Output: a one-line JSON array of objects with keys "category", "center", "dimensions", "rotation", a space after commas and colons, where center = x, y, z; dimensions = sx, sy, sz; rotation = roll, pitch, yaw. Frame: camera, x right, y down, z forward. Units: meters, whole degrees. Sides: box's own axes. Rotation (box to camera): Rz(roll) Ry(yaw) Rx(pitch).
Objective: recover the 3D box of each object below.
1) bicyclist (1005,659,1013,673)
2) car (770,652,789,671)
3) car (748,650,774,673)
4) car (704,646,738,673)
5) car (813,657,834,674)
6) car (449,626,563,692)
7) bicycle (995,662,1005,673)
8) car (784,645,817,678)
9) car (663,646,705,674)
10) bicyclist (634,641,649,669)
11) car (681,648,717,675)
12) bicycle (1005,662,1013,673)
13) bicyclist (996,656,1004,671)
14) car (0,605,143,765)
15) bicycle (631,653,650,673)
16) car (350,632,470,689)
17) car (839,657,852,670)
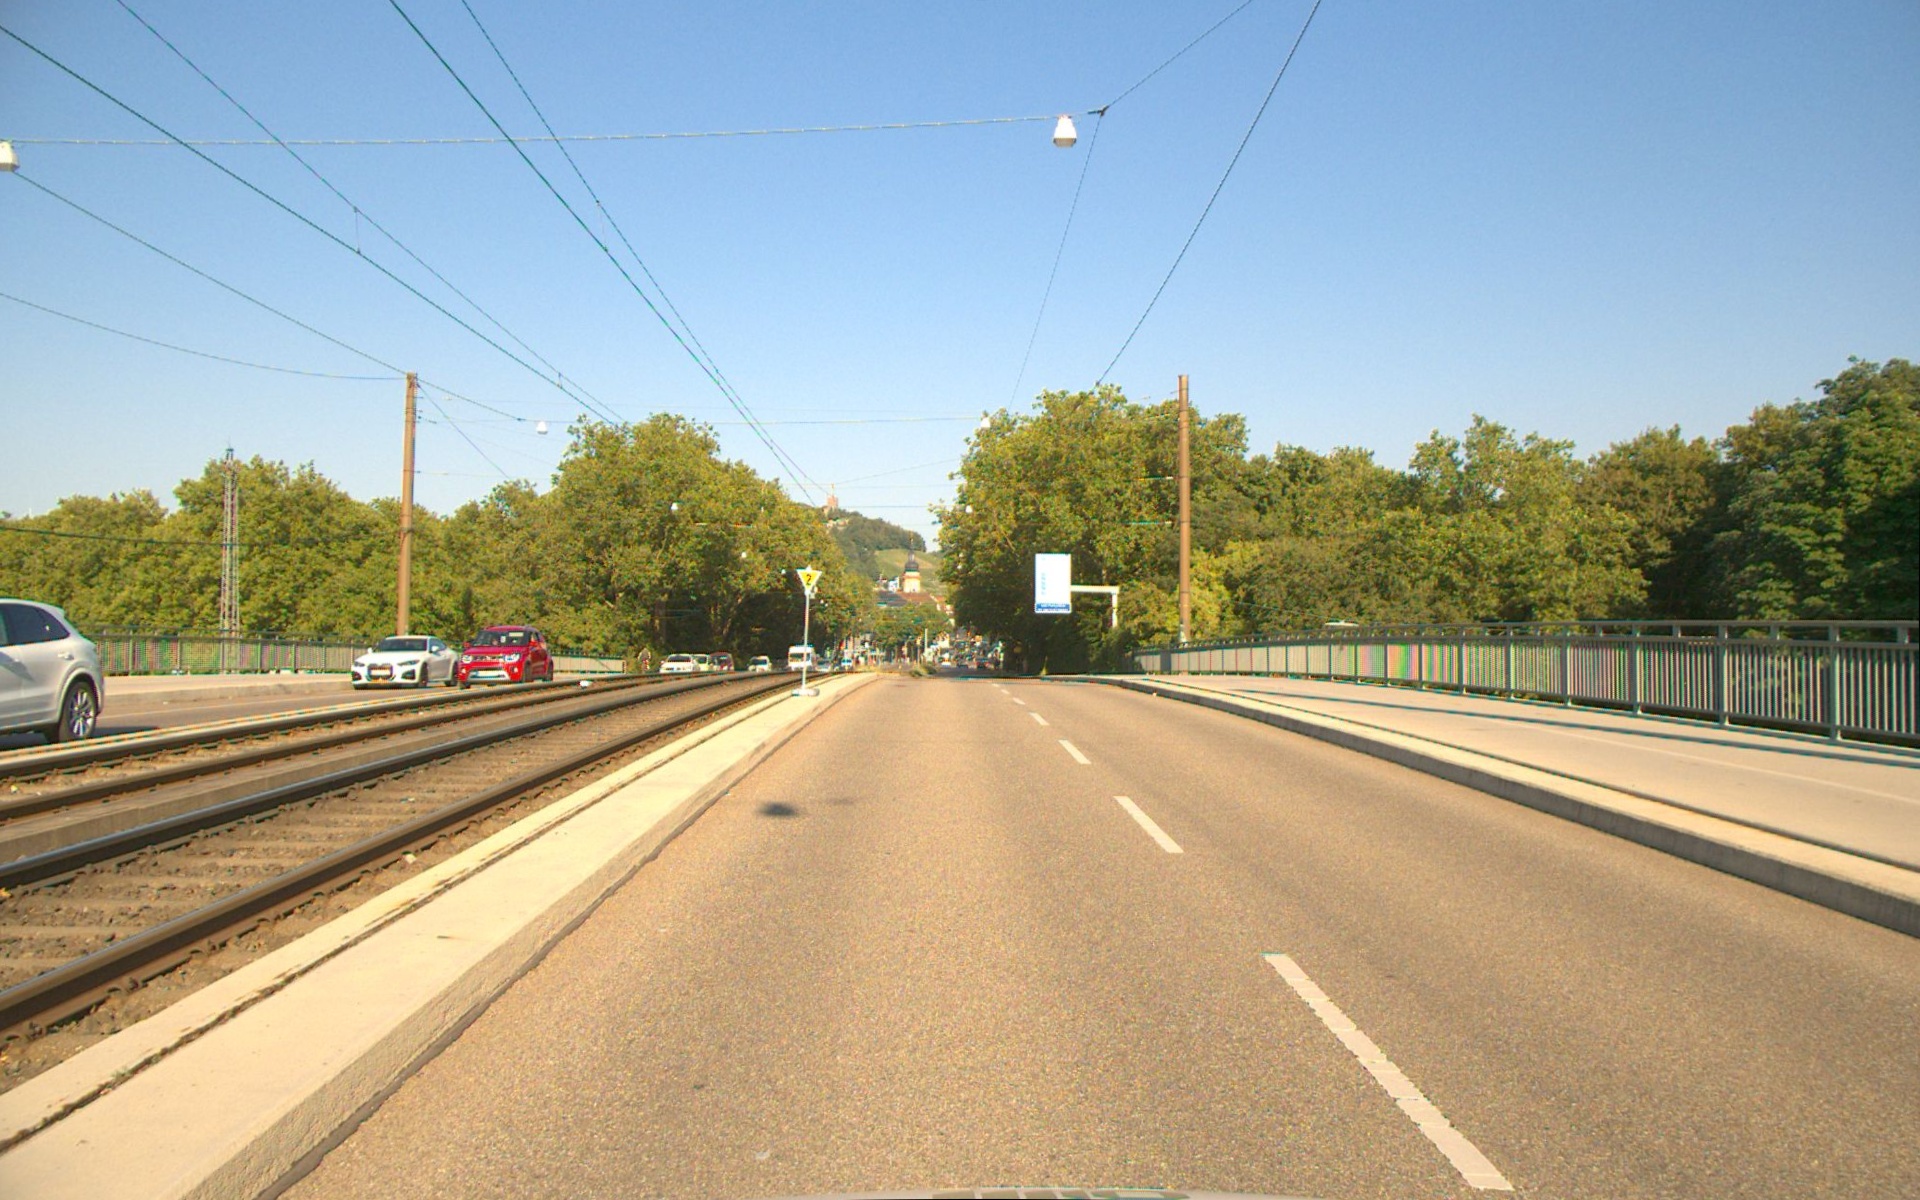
[{"category": "bicyclist", "center": [5.892, 7.875, 198.361], "dimensions": [0.869, 1.667, 1.164], "rotation": [0, -2, 0]}, {"category": "car", "center": [-16.654, 5.686, 152.752], "dimensions": [1.708, 1.665, 3.995], "rotation": [-1, -2, -5]}, {"category": "car", "center": [-16.525, 5.063, 137.574], "dimensions": [1.707, 1.774, 4.510], "rotation": [-3, -1, -3]}, {"category": "car", "center": [-15.801, 3.917, 109.498], "dimensions": [1.706, 1.785, 4.682], "rotation": [0, -2, -1]}, {"category": "car", "center": [-13.911, 6.657, 168.530], "dimensions": [1.835, 1.695, 4.596], "rotation": [0, -2, 0]}, {"category": "car", "center": [-11.311, 1.490, 41.442], "dimensions": [1.771, 1.546, 3.998], "rotation": [1, -3, -1]}, {"category": "bicycle", "center": [4.863, 8.228, 202.795], "dimensions": [0.870, 1.344, 2.636], "rotation": [0, -2, -6]}, {"category": "car", "center": [-13.204, 5.061, 137.407], "dimensions": [2.043, 2.639, 6.040], "rotation": [-1, -2, 1]}, {"category": "car", "center": [-15.475, 3.348, 92.891], "dimensions": [1.706, 1.490, 4.953], "rotation": [0, -2, -2]}, {"category": "bicyclist", "center": [-18.866, 3.260, 98.041], "dimensions": [0.666, 1.655, 0.889], "rotation": [2, -2, 0]}, {"category": "car", "center": [-15.583, 3.652, 98.747], "dimensions": [1.600, 1.558, 3.789], "rotation": [0, -2, -1]}, {"category": "bicycle", "center": [5.892, 8.122, 198.251], "dimensions": [0.869, 1.344, 2.639], "rotation": [0, -2, 0]}, {"category": "bicyclist", "center": [4.896, 7.736, 202.689], "dimensions": [0.870, 1.806, 1.220], "rotation": [0, -2, -6]}, {"category": "car", "center": [-10.969, 0.884, 17.708], "dimensions": [1.960, 1.666, 5.089], "rotation": [0, 0, -1]}, {"category": "bicycle", "center": [-18.878, 3.705, 97.815], "dimensions": [0.665, 1.117, 2.099], "rotation": [2, -2, 0]}, {"category": "car", "center": [-14.767, 1.593, 44.661], "dimensions": [1.650, 1.380, 4.919], "rotation": [0, 0, -1]}, {"category": "car", "center": [-17.496, 9.713, 253.564], "dimensions": [1.954, 1.877, 5.296], "rotation": [2, -2, -4]}]
